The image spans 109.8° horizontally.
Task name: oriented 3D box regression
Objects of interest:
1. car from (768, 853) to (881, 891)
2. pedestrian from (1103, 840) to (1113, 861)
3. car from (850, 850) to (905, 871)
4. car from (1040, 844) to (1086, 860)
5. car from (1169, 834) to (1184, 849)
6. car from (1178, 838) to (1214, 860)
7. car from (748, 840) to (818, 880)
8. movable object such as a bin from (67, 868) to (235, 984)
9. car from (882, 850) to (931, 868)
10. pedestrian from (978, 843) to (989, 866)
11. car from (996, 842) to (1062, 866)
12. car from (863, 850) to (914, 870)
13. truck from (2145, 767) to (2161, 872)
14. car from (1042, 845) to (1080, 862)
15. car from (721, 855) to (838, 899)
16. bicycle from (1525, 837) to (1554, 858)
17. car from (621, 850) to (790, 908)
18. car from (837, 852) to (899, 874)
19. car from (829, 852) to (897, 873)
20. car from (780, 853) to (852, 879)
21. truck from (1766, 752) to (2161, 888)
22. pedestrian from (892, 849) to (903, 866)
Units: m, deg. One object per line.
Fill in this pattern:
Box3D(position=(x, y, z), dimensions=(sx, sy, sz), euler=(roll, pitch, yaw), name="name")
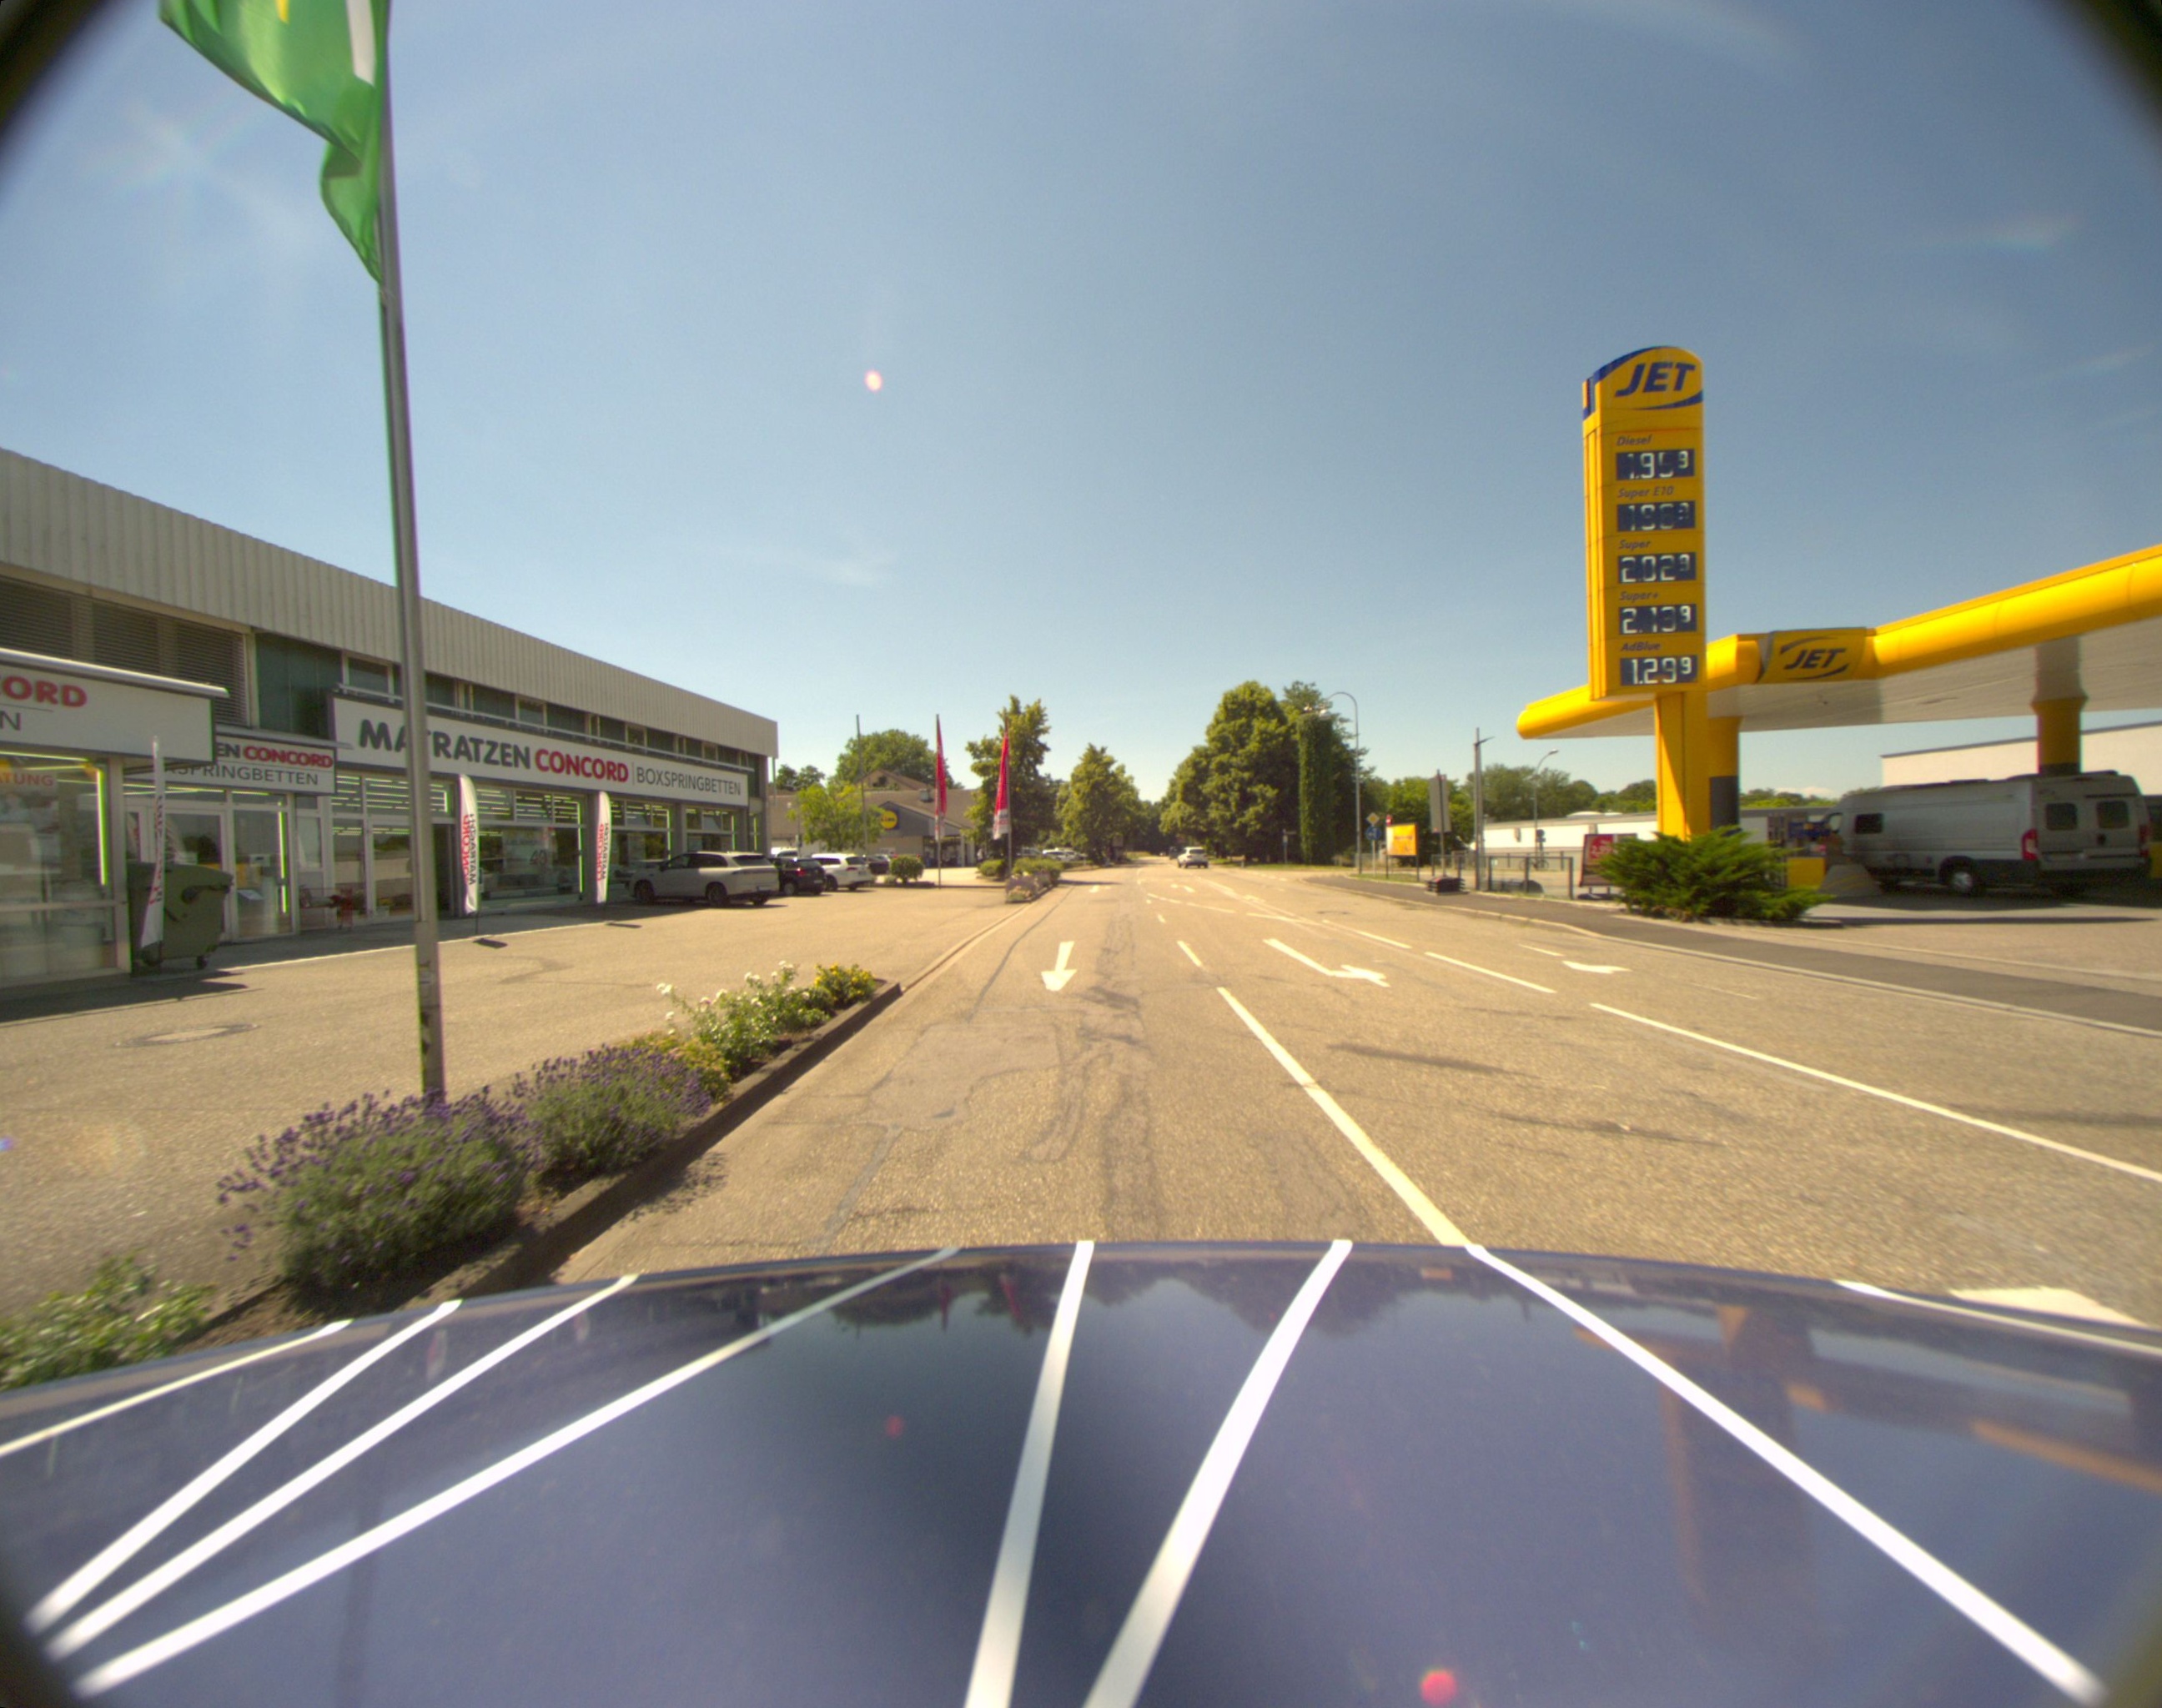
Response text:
Box3D(position=(-10.433, 0.712, 30.976), dimensions=(3.992, 1.452, 1.807), euler=(0, 1, 16), name="car")
Box3D(position=(2.324, -0.293, 64.799), dimensions=(0.730, 1.779, 0.621), euler=(0, 2, 14), name="pedestrian")
Box3D(position=(-15.829, 0.513, 59.234), dimensions=(3.730, 1.495, 1.819), euler=(-1, 1, 5), name="car")
Box3D(position=(-1.746, -0.231, 74.644), dimensions=(4.320, 1.472, 1.809), euler=(-1, 1, 2), name="car")
Box3D(position=(13.313, -1.708, 105.801), dimensions=(1.800, 1.761, 4.367), euler=(3, -2, 4), name="car")
Box3D(position=(9.088, -0.358, 60.315), dimensions=(1.974, 1.663, 4.247), euler=(0, 0, -3), name="car")
Box3D(position=(-14.997, 0.237, 38.465), dimensions=(1.709, 1.880, 4.256), euler=(-1, 1, 1), name="car")
Box3D(position=(-12.429, 0.936, 10.176), dimensions=(1.566, 1.414, 0.702), euler=(2, 1, 8), name="movable object such as a bin")
Box3D(position=(-14.669, 0.438, 63.976), dimensions=(3.604, 1.409, 1.672), euler=(-1, 1, 5), name="car")
Box3D(position=(-8.688, 0.042, 67.901), dimensions=(0.784, 2.002, 0.803), euler=(-1, 2, 4), name="pedestrian")
Box3D(position=(-3.856, -0.014, 56.837), dimensions=(4.522, 1.658, 1.895), euler=(-1, 1, 9), name="car")
Box3D(position=(-15.577, 0.481, 61.563), dimensions=(3.604, 1.449, 1.746), euler=(-1, 1, 5), name="car")
Box3D(position=(27.272, -0.805, 15.566), dimensions=(2.921, 2.583, 6.608), euler=(0, 1, 17), name="truck")
Box3D(position=(-1.802, -0.063, 69.534), dimensions=(3.405, 1.497, 1.582), euler=(0, 0, 2), name="car")
Box3D(position=(-11.230, 0.805, 28.328), dimensions=(3.858, 1.524, 1.680), euler=(0, 2, 19), name="car")
Box3D(position=(29.996, -0.424, 49.715), dimensions=(1.539, 1.341, 0.395), euler=(0, 1, 11), name="bicycle")
Box3D(position=(-11.498, 0.715, 23.305), dimensions=(4.586, 1.632, 2.002), euler=(0, 1, 20), name="car")
Box3D(position=(-15.881, 0.659, 56.670), dimensions=(4.026, 1.469, 1.728), euler=(-2, 1, 6), name="car")
Box3D(position=(-15.396, 0.583, 53.808), dimensions=(4.253, 1.383, 1.901), euler=(-1, 1, 2), name="car")
Box3D(position=(-16.951, 0.742, 48.674), dimensions=(3.997, 1.523, 1.651), euler=(-2, 1, 0), name="car")
Box3D(position=(19.997, -0.714, 17.992), dimensions=(2.237, 2.583, 6.735), euler=(-1, 1, 8), name="truck")
Box3D(position=(-17.418, 0.325, 72.146), dimensions=(0.803, 1.543, 0.559), euler=(-1, 2, 4), name="pedestrian")
